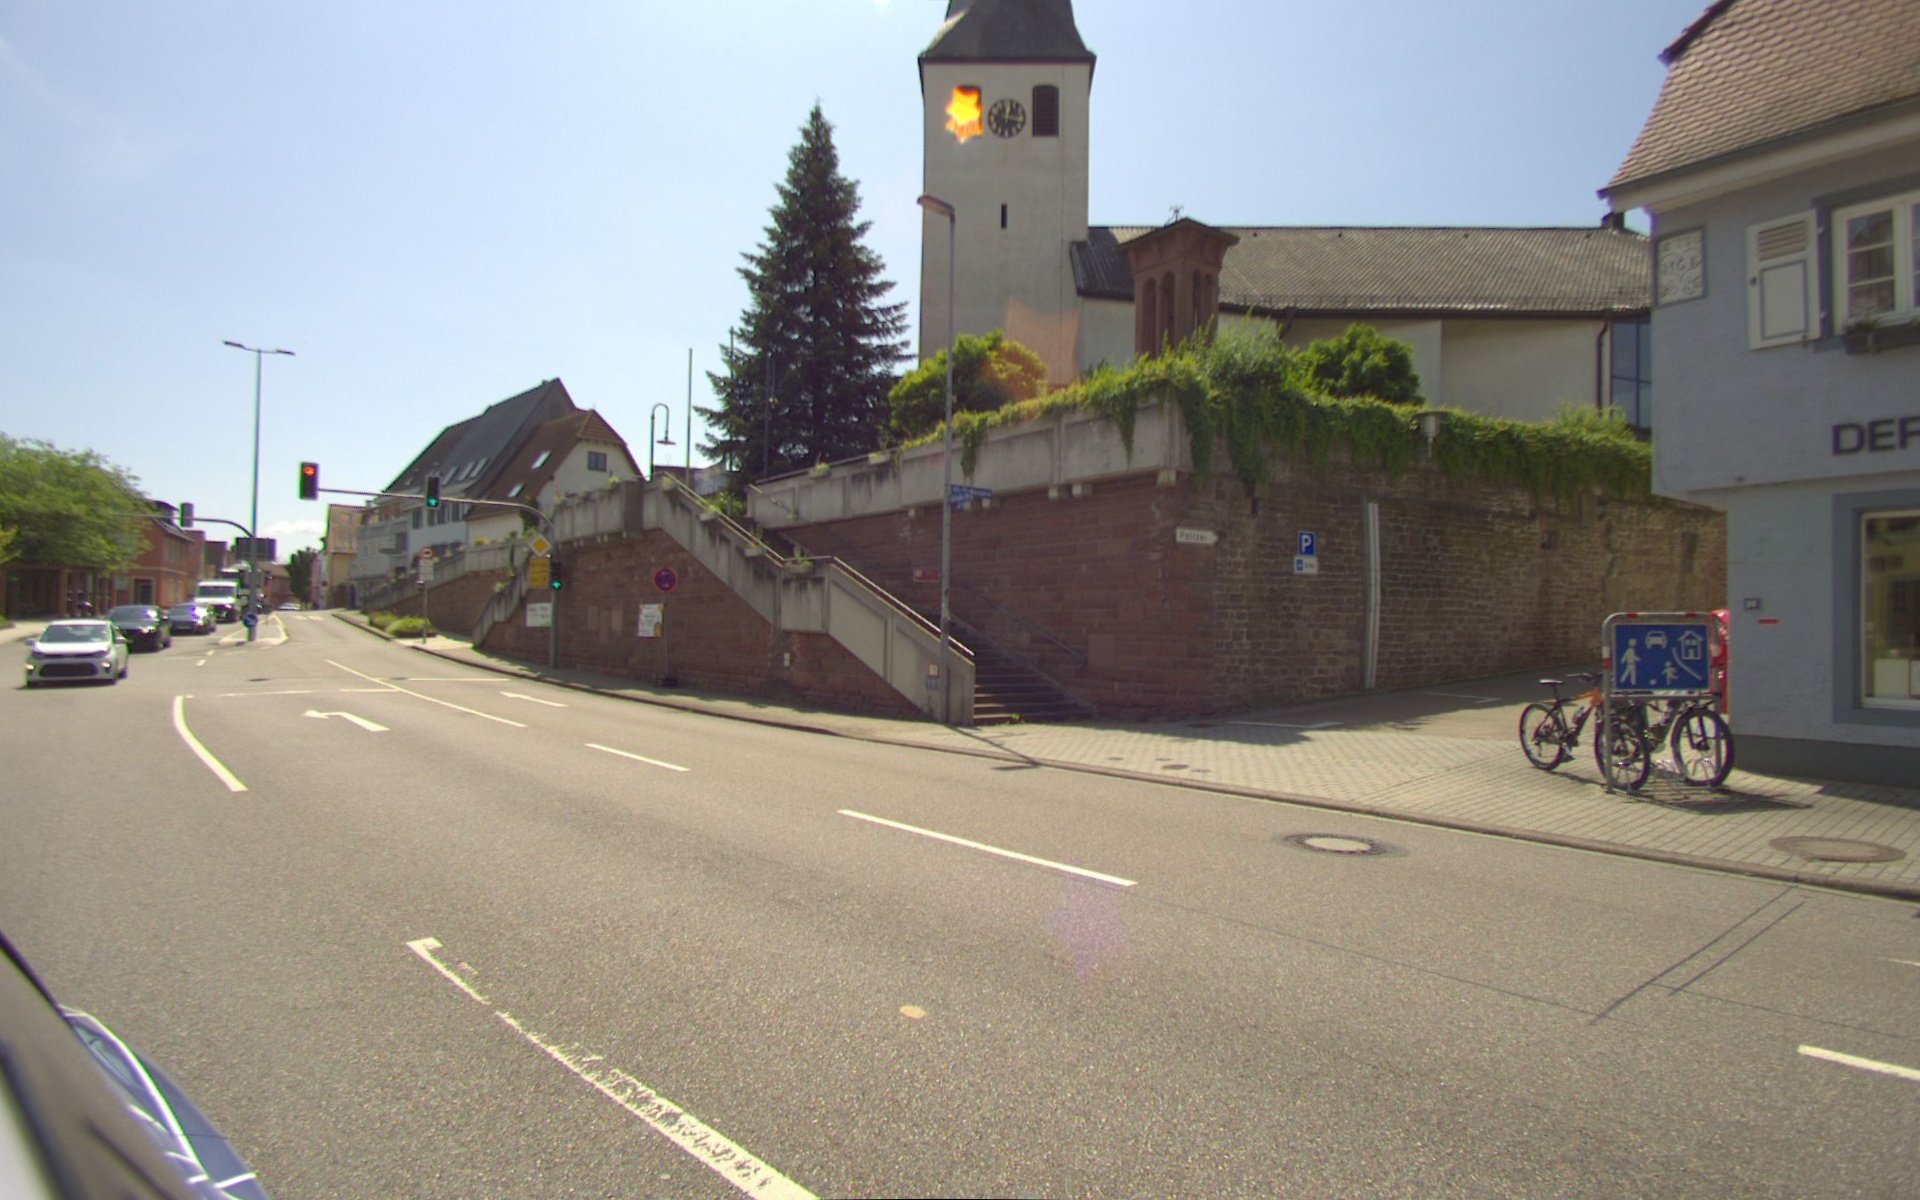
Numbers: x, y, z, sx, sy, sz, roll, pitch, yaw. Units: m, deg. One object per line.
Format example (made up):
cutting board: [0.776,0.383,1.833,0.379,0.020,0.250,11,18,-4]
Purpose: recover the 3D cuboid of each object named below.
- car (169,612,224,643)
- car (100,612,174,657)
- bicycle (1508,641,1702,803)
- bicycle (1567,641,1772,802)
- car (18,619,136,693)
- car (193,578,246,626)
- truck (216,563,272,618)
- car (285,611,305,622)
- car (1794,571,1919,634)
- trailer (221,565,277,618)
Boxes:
car: [-36.149,1.268,47.987,1.898,1.376,4.314,0,0,-35]
car: [-30.414,1.233,37.497,1.697,1.562,4.315,0,0,-33]
bicycle: [5.912,1.064,9.410,0.570,1.258,1.831,-3,0,0]
bicycle: [6.552,1.064,9.473,0.570,1.258,1.831,-3,0,0]
car: [-21.059,1.270,24.292,1.697,1.562,4.314,0,0,-35]
car: [-42.757,0.170,58.513,2.140,2.583,4.837,2,-2,-33]
truck: [-49.181,-0.570,69.636,2.802,3.597,5.483,2,-2,-32]
car: [-104.874,2.574,159.573,1.978,1.643,4.592,1,-2,-25]
car: [24.111,0.083,26.824,3.933,1.532,1.991,0,-2,-33]
trailer: [-52.674,-0.500,75.156,2.792,3.597,10.996,2,-2,-32]
